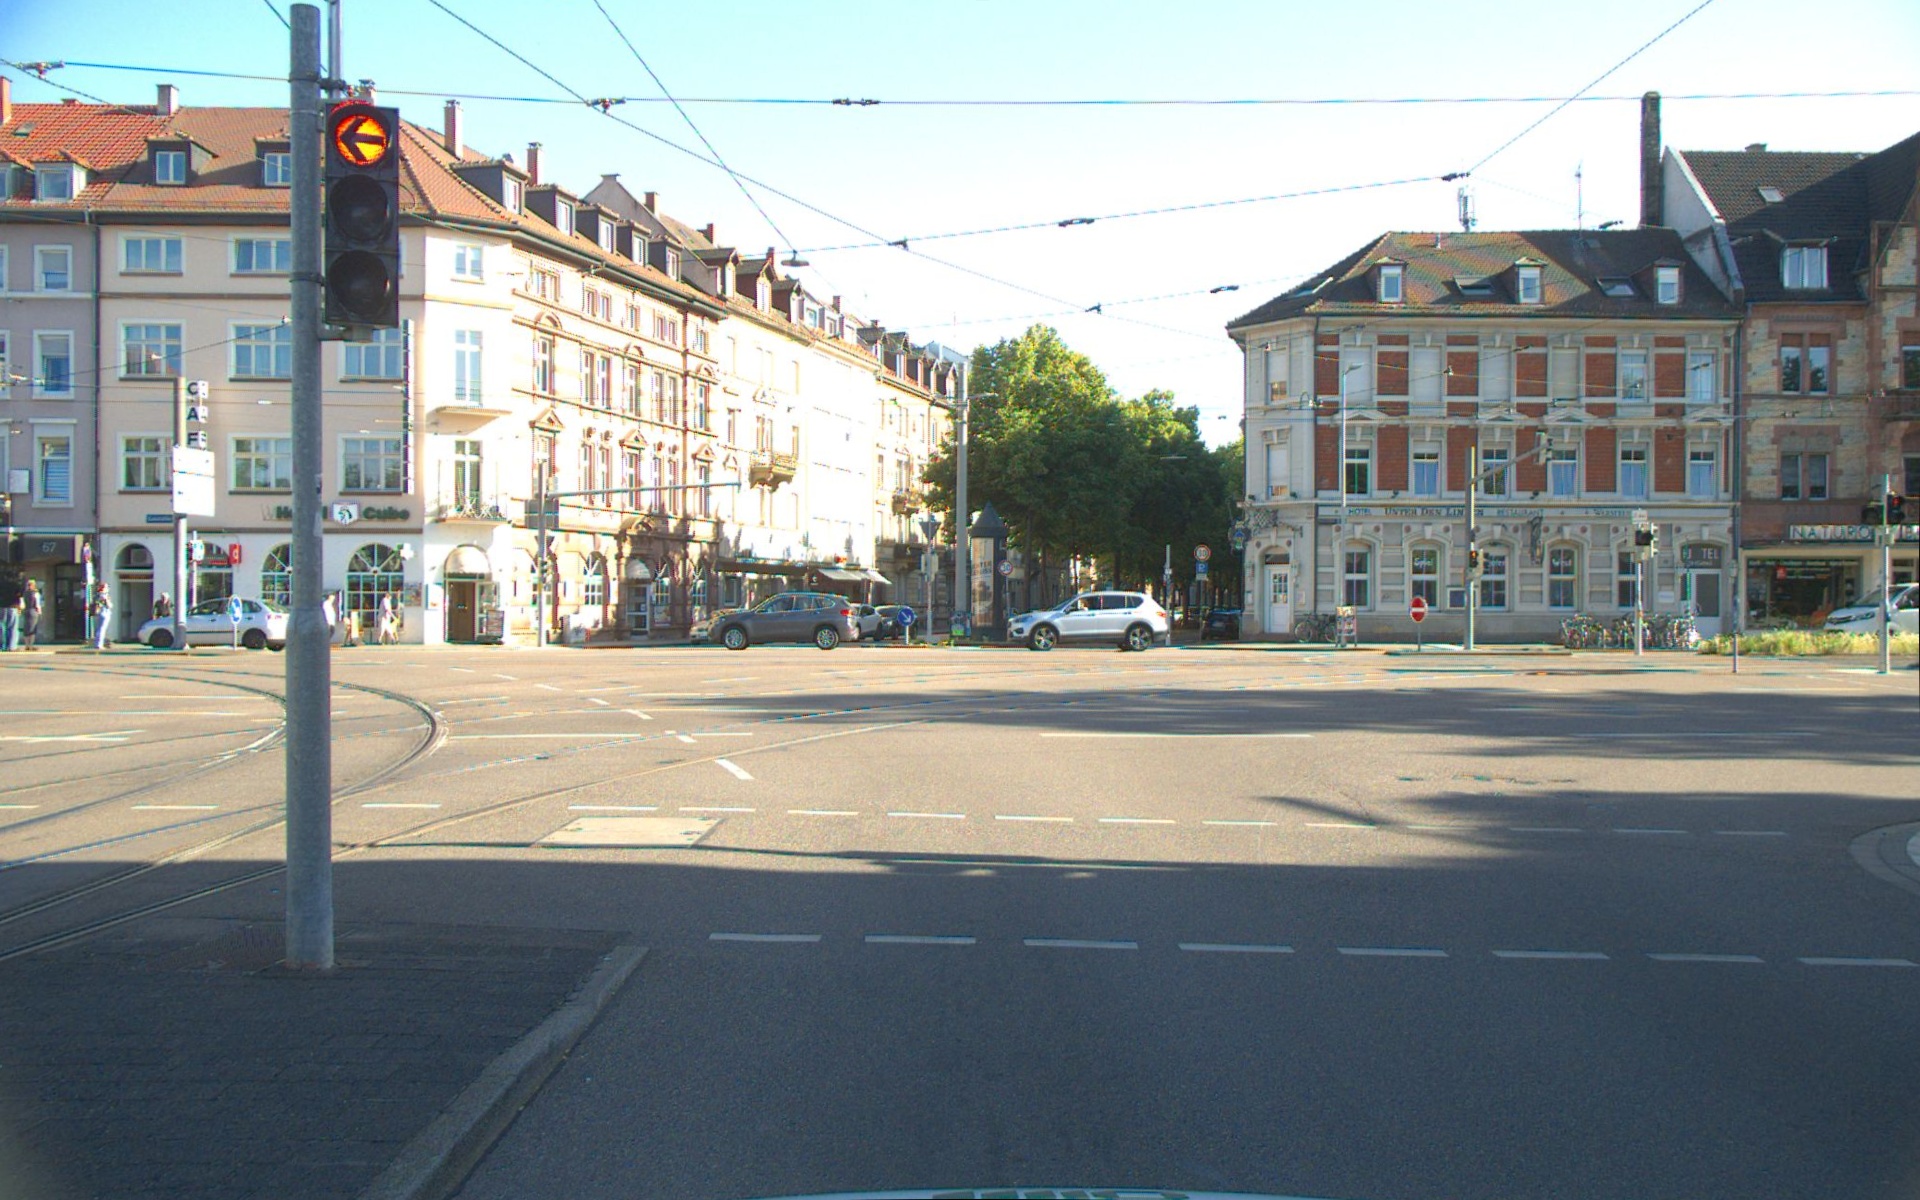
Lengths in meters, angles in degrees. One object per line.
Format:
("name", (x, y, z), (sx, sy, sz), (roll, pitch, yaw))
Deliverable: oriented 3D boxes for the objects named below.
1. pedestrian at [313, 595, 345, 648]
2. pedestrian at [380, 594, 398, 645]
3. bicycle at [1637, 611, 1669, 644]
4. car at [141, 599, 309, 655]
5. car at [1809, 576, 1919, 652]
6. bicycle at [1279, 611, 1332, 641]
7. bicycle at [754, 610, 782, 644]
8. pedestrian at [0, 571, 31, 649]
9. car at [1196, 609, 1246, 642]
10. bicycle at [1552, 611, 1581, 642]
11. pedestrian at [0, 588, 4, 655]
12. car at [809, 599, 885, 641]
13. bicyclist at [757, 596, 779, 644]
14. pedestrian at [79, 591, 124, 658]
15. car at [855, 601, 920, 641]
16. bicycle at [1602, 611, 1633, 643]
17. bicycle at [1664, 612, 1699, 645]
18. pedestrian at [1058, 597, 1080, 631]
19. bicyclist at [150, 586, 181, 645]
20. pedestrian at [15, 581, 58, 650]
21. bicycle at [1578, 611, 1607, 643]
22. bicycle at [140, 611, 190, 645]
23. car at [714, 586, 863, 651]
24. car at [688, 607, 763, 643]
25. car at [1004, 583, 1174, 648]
("pedestrian", (-20.402, 0.693, 53.515), (0.556, 1.671, 0.792), (1, -1, 22))
("pedestrian", (-19.248, 0.653, 55.777), (0.488, 1.705, 0.587), (1, -1, -14))
("bicycle", (22.461, 0.888, 53.654), (0.749, 1.025, 2.221), (1, 0, 17))
("car", (-19.705, 0.712, 44.460), (3.713, 1.427, 1.698), (1, 0, -3))
("car", (24.951, 0.360, 42.690), (5.093, 1.886, 2.000), (0, 0, -1))
("bicycle", (11.977, 0.903, 57.295), (1.764, 0.979, 0.604), (1, 0, 14))
("bicycle", (-7.542, 1.055, 65.030), (0.553, 1.276, 1.558), (1, 0, 14))
("pedestrian", (-22.940, 0.244, 40.017), (0.516, 1.854, 0.676), (1, -1, -1))
("car", (13.074, 1.271, 82.705), (1.719, 1.583, 4.001), (1, 0, 20))
("bicycle", (19.805, 0.856, 54.042), (0.749, 0.979, 2.211), (1, 0, 17))
("pedestrian", (-24.338, 0.541, 41.216), (0.561, 1.677, 0.727), (1, -1, -1))
("car", (-4.549, 0.806, 67.181), (1.764, 1.613, 4.162), (1, 0, 16))
("bicyclist", (-7.545, 0.781, 65.039), (0.553, 1.835, 0.915), (1, -1, 14))
("pedestrian", (-21.277, 0.608, 41.016), (0.655, 1.622, 0.815), (1, -1, -1))
("car", (-3.193, 0.931, 73.557), (1.786, 1.715, 3.877), (1, 0, 16))
("bicycle", (21.338, 0.881, 53.712), (0.749, 1.001, 2.211), (1, 0, 17))
("bicycle", (23.316, 0.901, 53.491), (0.775, 1.033, 2.211), (1, 0, 17))
("pedestrian", (6.600, 0.839, 100.205), (0.952, 2.049, 0.908), (1, -1, -32))
("bicyclist", (-24.908, 0.474, 51.874), (0.608, 1.822, 0.615), (1, -1, 4))
("pedestrian", (-22.918, 0.375, 41.036), (0.571, 1.677, 0.840), (1, -1, -1))
("bicycle", (20.559, 0.868, 53.805), (0.749, 0.985, 2.211), (1, 0, 17))
("bicycle", (-24.916, 0.871, 51.866), (0.608, 1.048, 1.755), (1, 0, 4))
("car", (-4.940, 0.533, 48.051), (4.142, 1.805, 1.818), (1, 0, -2))
("car", (-9.463, 0.986, 66.898), (1.624, 1.398, 3.894), (1, 0, 14))
("car", (3.680, 0.459, 47.618), (4.588, 1.764, 1.832), (1, 0, -9))
